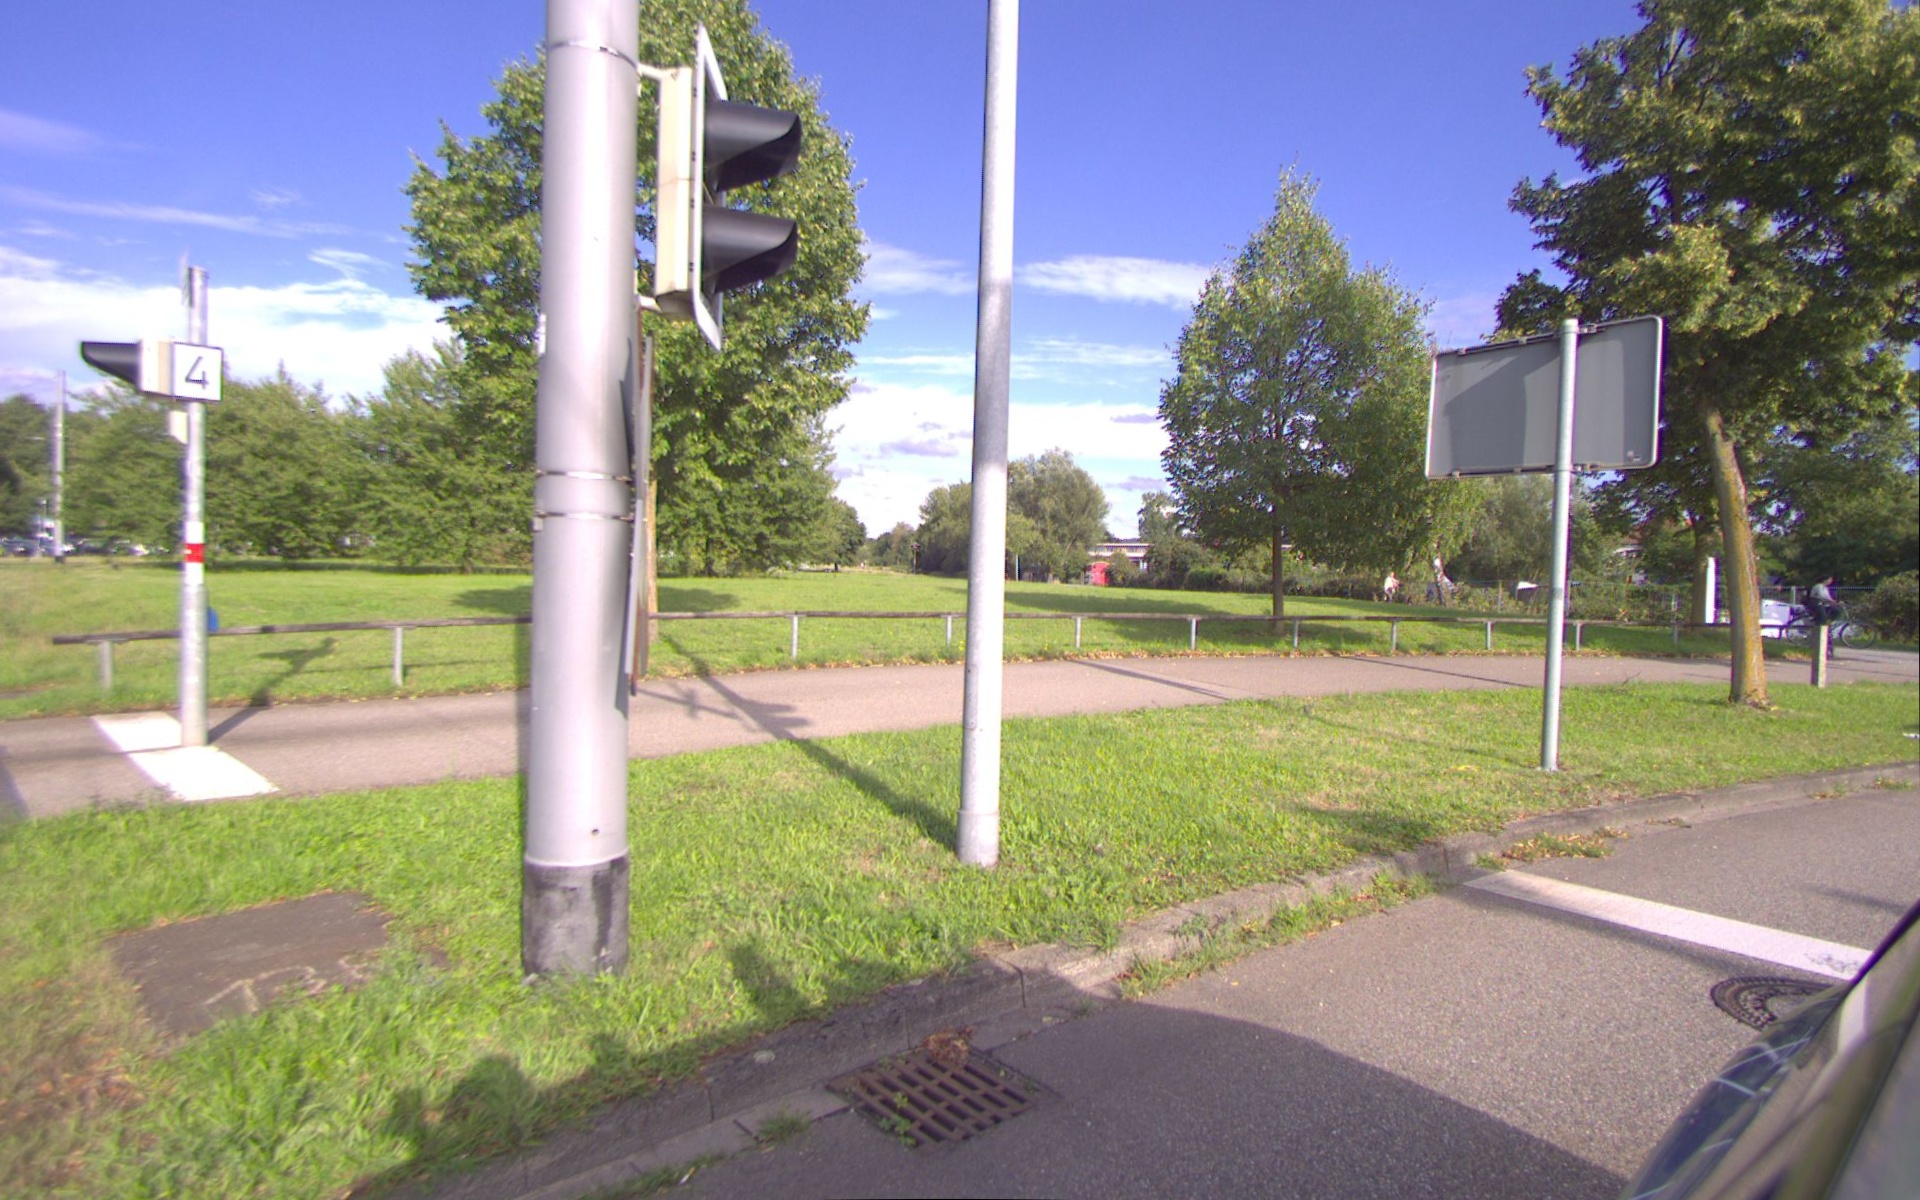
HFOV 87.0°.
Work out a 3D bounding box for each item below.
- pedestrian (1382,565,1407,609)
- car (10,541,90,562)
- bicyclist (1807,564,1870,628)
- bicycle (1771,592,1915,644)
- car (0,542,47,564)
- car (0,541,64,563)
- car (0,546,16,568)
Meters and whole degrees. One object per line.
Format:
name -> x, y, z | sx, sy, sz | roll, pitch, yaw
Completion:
pedestrian -> 17.381, -0.521, 40.468 | 0.654, 1.753, 0.598 | 0, 2, -26
car -> -71.597, -3.807, 79.658 | 4.376, 1.560, 1.863 | 1, 2, -10
bicyclist -> 22.088, -0.108, 25.461 | 0.787, 1.566, 0.907 | 1, 2, -26
bicycle -> 22.101, 0.409, 25.416 | 0.787, 1.140, 2.607 | 0, 2, -26
car -> -69.800, -3.435, 73.855 | 4.376, 1.560, 1.863 | 1, 2, -10
car -> -71.141, -3.675, 76.821 | 4.376, 1.560, 1.863 | 1, 2, -10
car -> -69.473, -3.055, 71.030 | 4.376, 1.560, 1.863 | 1, 2, -10
